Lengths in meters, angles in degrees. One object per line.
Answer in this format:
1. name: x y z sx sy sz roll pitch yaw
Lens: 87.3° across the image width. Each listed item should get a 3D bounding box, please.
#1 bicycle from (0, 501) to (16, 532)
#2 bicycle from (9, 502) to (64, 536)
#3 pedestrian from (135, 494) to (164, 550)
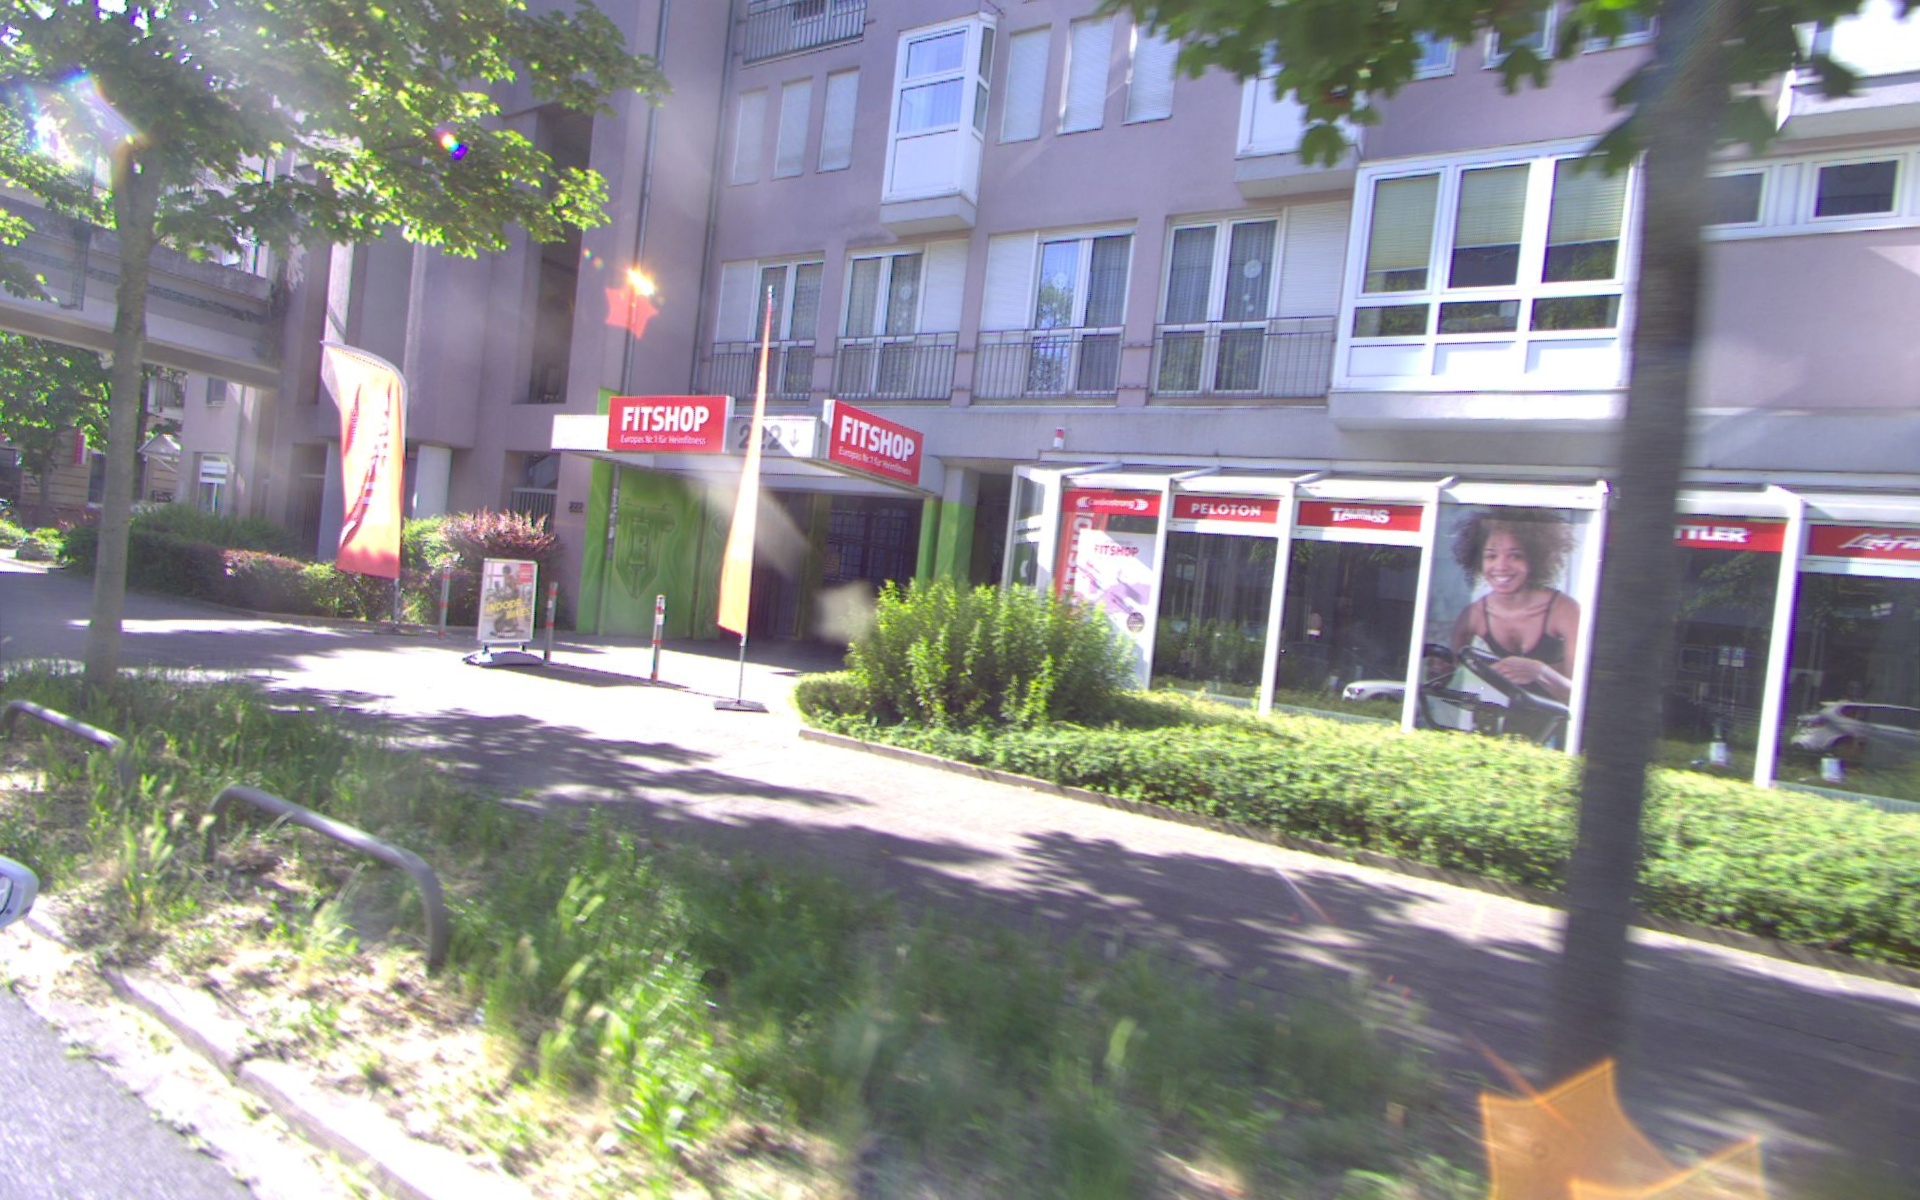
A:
1. bicycle: -32.000 -2.807 33.062 0.386 0.986 1.313 6 1 20
2. bicycle: -31.988 -2.796 34.866 0.386 0.986 1.313 6 1 20
3. pedestrian: -24.524 -2.359 30.444 0.526 1.597 0.628 5 2 -34
